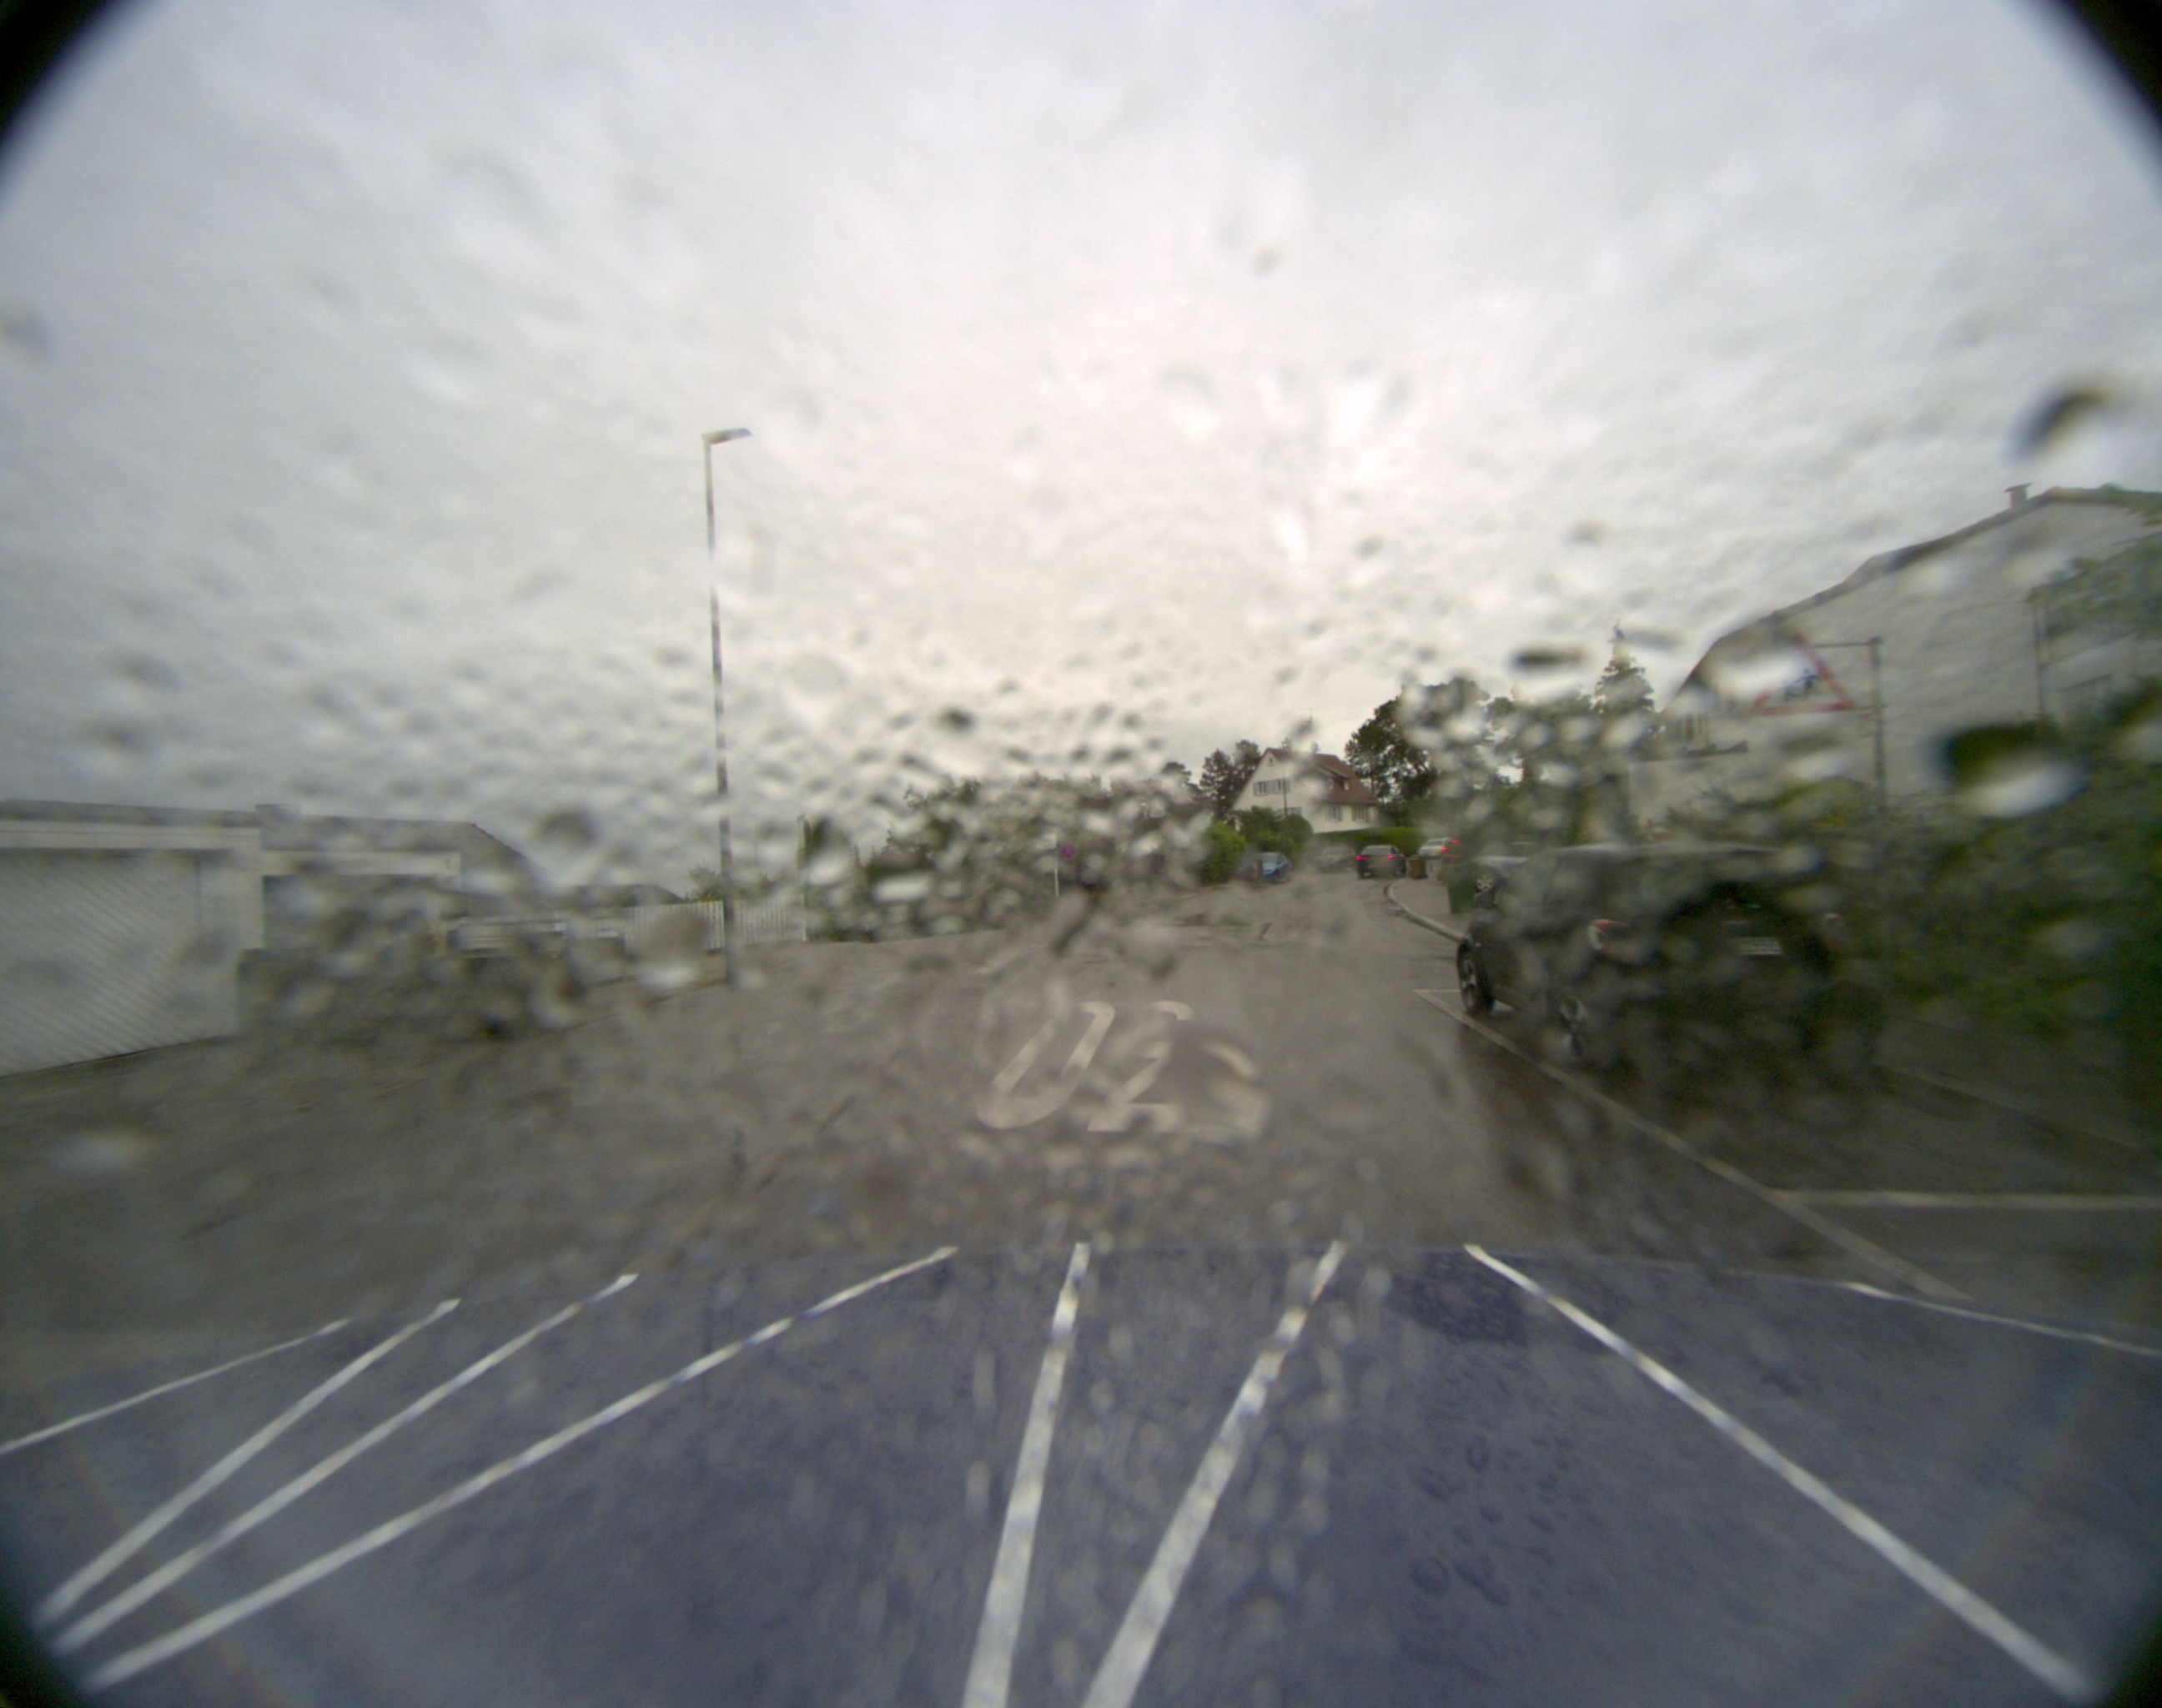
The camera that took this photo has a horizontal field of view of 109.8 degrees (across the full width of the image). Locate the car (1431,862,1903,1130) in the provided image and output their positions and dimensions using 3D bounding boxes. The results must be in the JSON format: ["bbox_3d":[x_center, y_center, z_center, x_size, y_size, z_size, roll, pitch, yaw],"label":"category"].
[{"bbox_3d":[4.093,0.864,5.927,1.605,1.503,2.944,-2,0,7],"label":"car"}]

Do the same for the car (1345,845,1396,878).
[{"bbox_3d":[15.261,0.364,39.924,1.931,1.596,4.350,-2,0,28],"label":"car"}]

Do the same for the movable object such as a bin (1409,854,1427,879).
[{"bbox_3d":[14.923,0.549,33.643,0.692,1.085,0.421,0,1,32],"label":"movable object such as a bin"}]

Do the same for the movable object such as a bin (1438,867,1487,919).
[{"bbox_3d":[8.268,0.847,16.490,0.846,1.061,0.623,-5,-2,24],"label":"movable object such as a bin"}]

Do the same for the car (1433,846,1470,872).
[{"bbox_3d":[26.386,0.323,54.105,1.790,1.585,4.223,-3,0,33],"label":"car"}]

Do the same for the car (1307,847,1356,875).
[{"bbox_3d":[15.598,0.395,47.265,1.903,1.532,4.223,-3,0,32],"label":"car"}]

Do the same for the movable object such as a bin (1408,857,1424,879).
[{"bbox_3d":[14.660,0.620,33.250,0.579,0.934,0.505,0,1,32],"label":"movable object such as a bin"}]

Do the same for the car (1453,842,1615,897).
[{"bbox_3d":[13.395,0.442,22.531,3.989,1.432,1.772,-1,2,36],"label":"car"}]

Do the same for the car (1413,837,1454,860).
[{"bbox_3d":[28.690,-0.451,61.747,1.662,1.629,4.223,-3,0,44],"label":"car"}]

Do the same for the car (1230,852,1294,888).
[{"bbox_3d":[8.678,0.717,36.141,1.796,1.460,4.223,-3,0,30],"label":"car"}]
